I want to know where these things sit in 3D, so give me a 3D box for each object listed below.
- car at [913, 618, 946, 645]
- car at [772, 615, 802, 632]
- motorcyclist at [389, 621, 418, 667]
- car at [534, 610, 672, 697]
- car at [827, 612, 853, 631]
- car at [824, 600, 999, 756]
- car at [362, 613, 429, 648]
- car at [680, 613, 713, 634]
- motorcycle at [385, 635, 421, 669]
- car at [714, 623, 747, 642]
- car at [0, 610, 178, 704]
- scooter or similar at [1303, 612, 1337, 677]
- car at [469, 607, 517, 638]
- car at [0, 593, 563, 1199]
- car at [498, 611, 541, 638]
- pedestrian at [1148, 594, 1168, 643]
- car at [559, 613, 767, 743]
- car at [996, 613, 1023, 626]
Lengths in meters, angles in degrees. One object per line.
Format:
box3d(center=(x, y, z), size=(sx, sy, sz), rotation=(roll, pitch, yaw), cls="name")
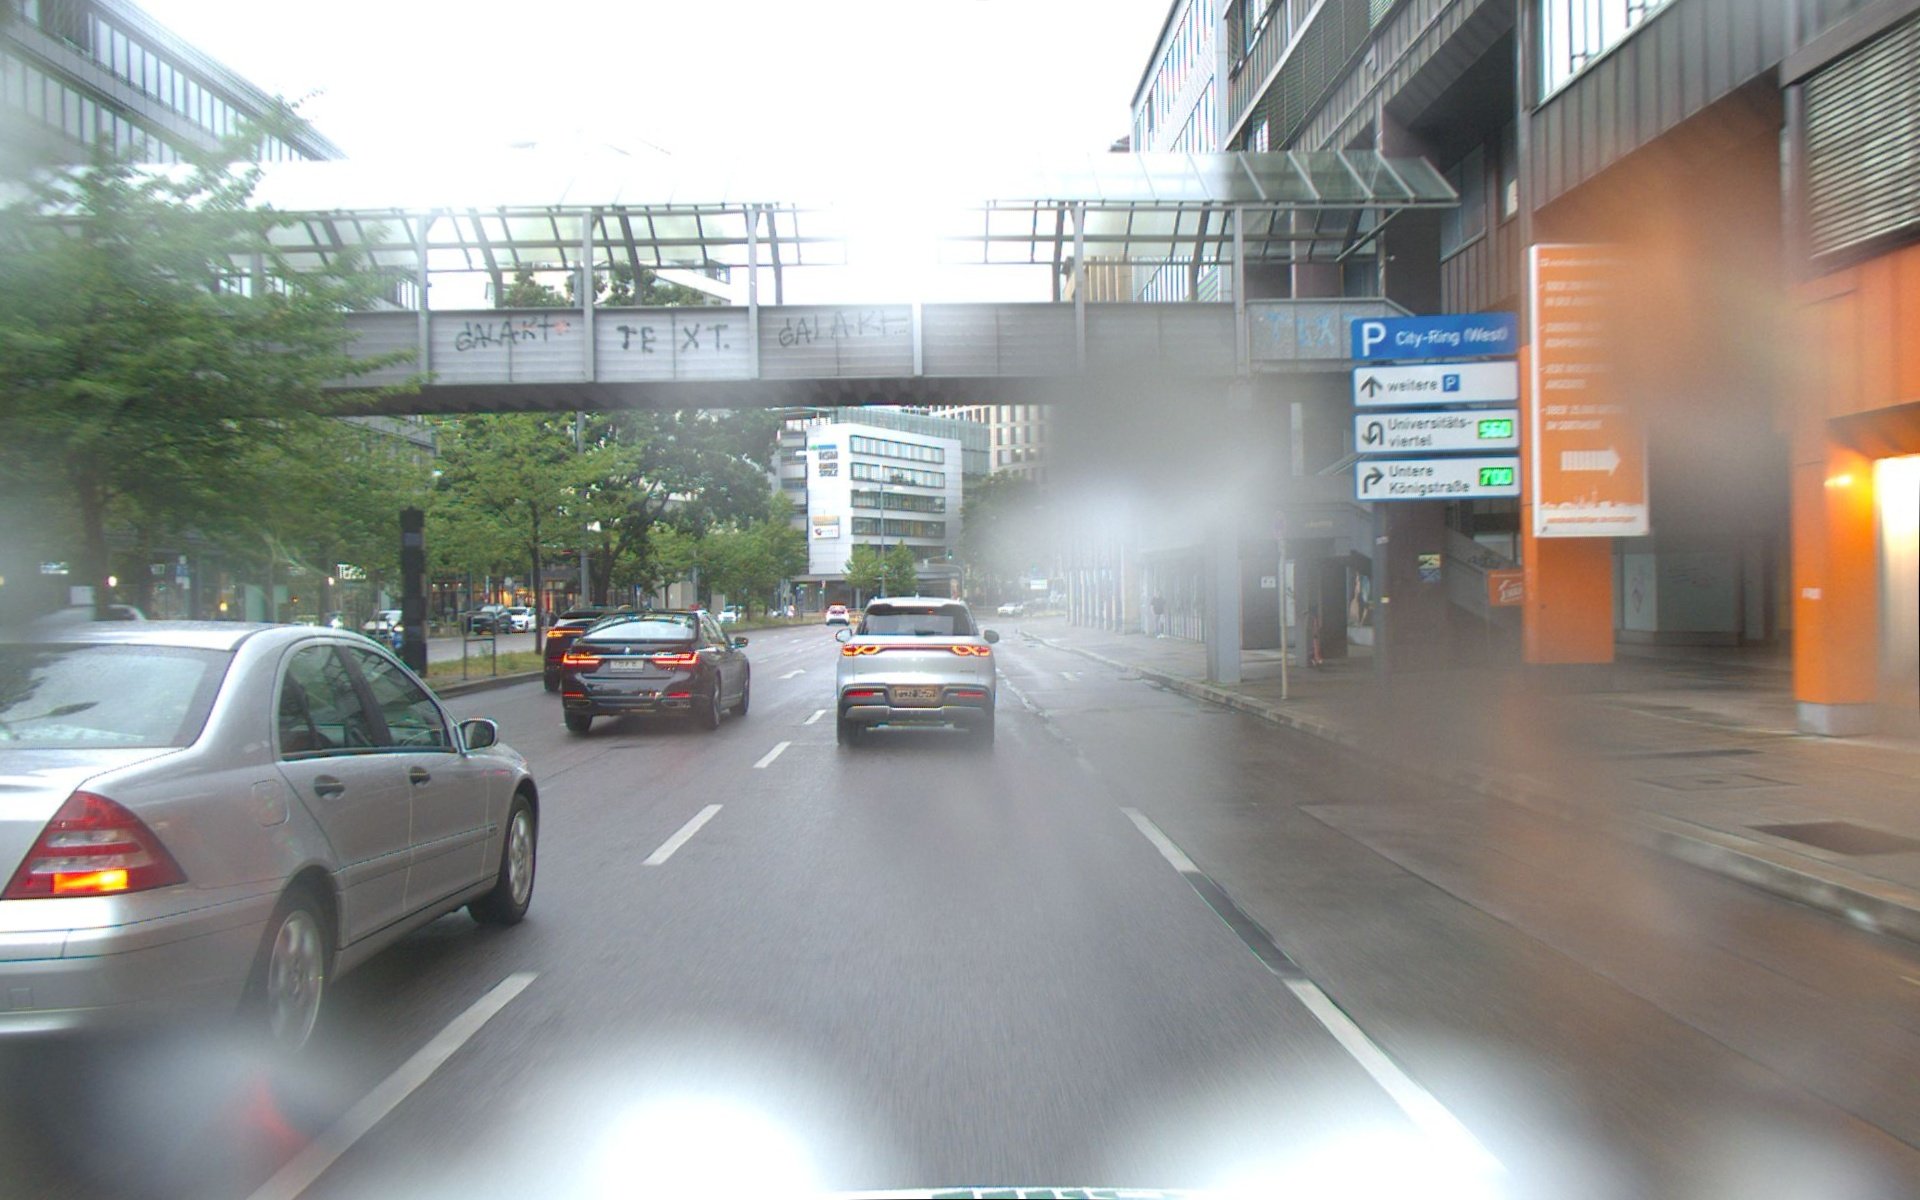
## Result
box3d(center=(-1.834, 1.886, 100.052), size=(1.774, 1.606, 4.001), rotation=(0, 0, 1), cls="car")
box3d(center=(-15.859, 2.149, 151.756), size=(1.589, 1.478, 4.165), rotation=(-1, -1, 11), cls="car")
box3d(center=(-18.073, 1.426, 53.741), size=(0.625, 1.443, 0.970), rotation=(-1, -1, -1), cls="motorcyclist")
box3d(center=(-6.597, 0.972, 30.980), size=(1.738, 1.482, 3.999), rotation=(-1, -1, -1), cls="car")
box3d(center=(-9.166, 1.623, 126.756), size=(1.619, 1.365, 4.000), rotation=(0, 0, 1), cls="car")
box3d(center=(-0.554, 0.849, 19.639), size=(1.862, 1.650, 3.999), rotation=(0, -1, -1), cls="car")
box3d(center=(-24.830, 1.360, 72.880), size=(1.591, 1.458, 4.443), rotation=(-1, -1, -3), cls="car")
box3d(center=(-17.080, 1.549, 107.423), size=(1.590, 1.334, 3.616), rotation=(-1, -1, -1), cls="car")
box3d(center=(-18.069, 1.686, 53.700), size=(0.572, 1.039, 1.805), rotation=(-1, 0, -1), cls="motorcycle")
box3d(center=(-18.662, 2.631, 134.737), size=(1.589, 1.518, 4.309), rotation=(-1, -1, 6), cls="car")
box3d(center=(-19.278, 1.201, 36.234), size=(1.961, 1.799, 5.182), rotation=(-4, 0, -3), cls="car")
box3d(center=(7.183, 0.871, 33.036), size=(0.342, 1.278, 1.394), rotation=(-1, -1, -1), cls="scooter or similar")
box3d(center=(-25.263, 1.218, 89.613), size=(1.591, 1.639, 4.229), rotation=(0, 0, -3), cls="car")
box3d(center=(-2.845, 0.777, 6.251), size=(1.638, 1.505, 4.360), rotation=(0, -1, 0), cls="car")
box3d(center=(-25.431, 1.397, 95.627), size=(1.591, 1.486, 3.960), rotation=(0, 0, -3), cls="car")
box3d(center=(7.449, 0.691, 62.335), size=(0.622, 1.803, 0.789), rotation=(-1, -1, -1), cls="pedestrian")
box3d(center=(-3.778, 0.935, 21.876), size=(1.834, 1.505, 4.878), rotation=(-1, 0, 0), cls="car")
box3d(center=(5.859, 2.303, 195.678), size=(1.551, 1.565, 3.993), rotation=(-1, 0, 29), cls="car")
